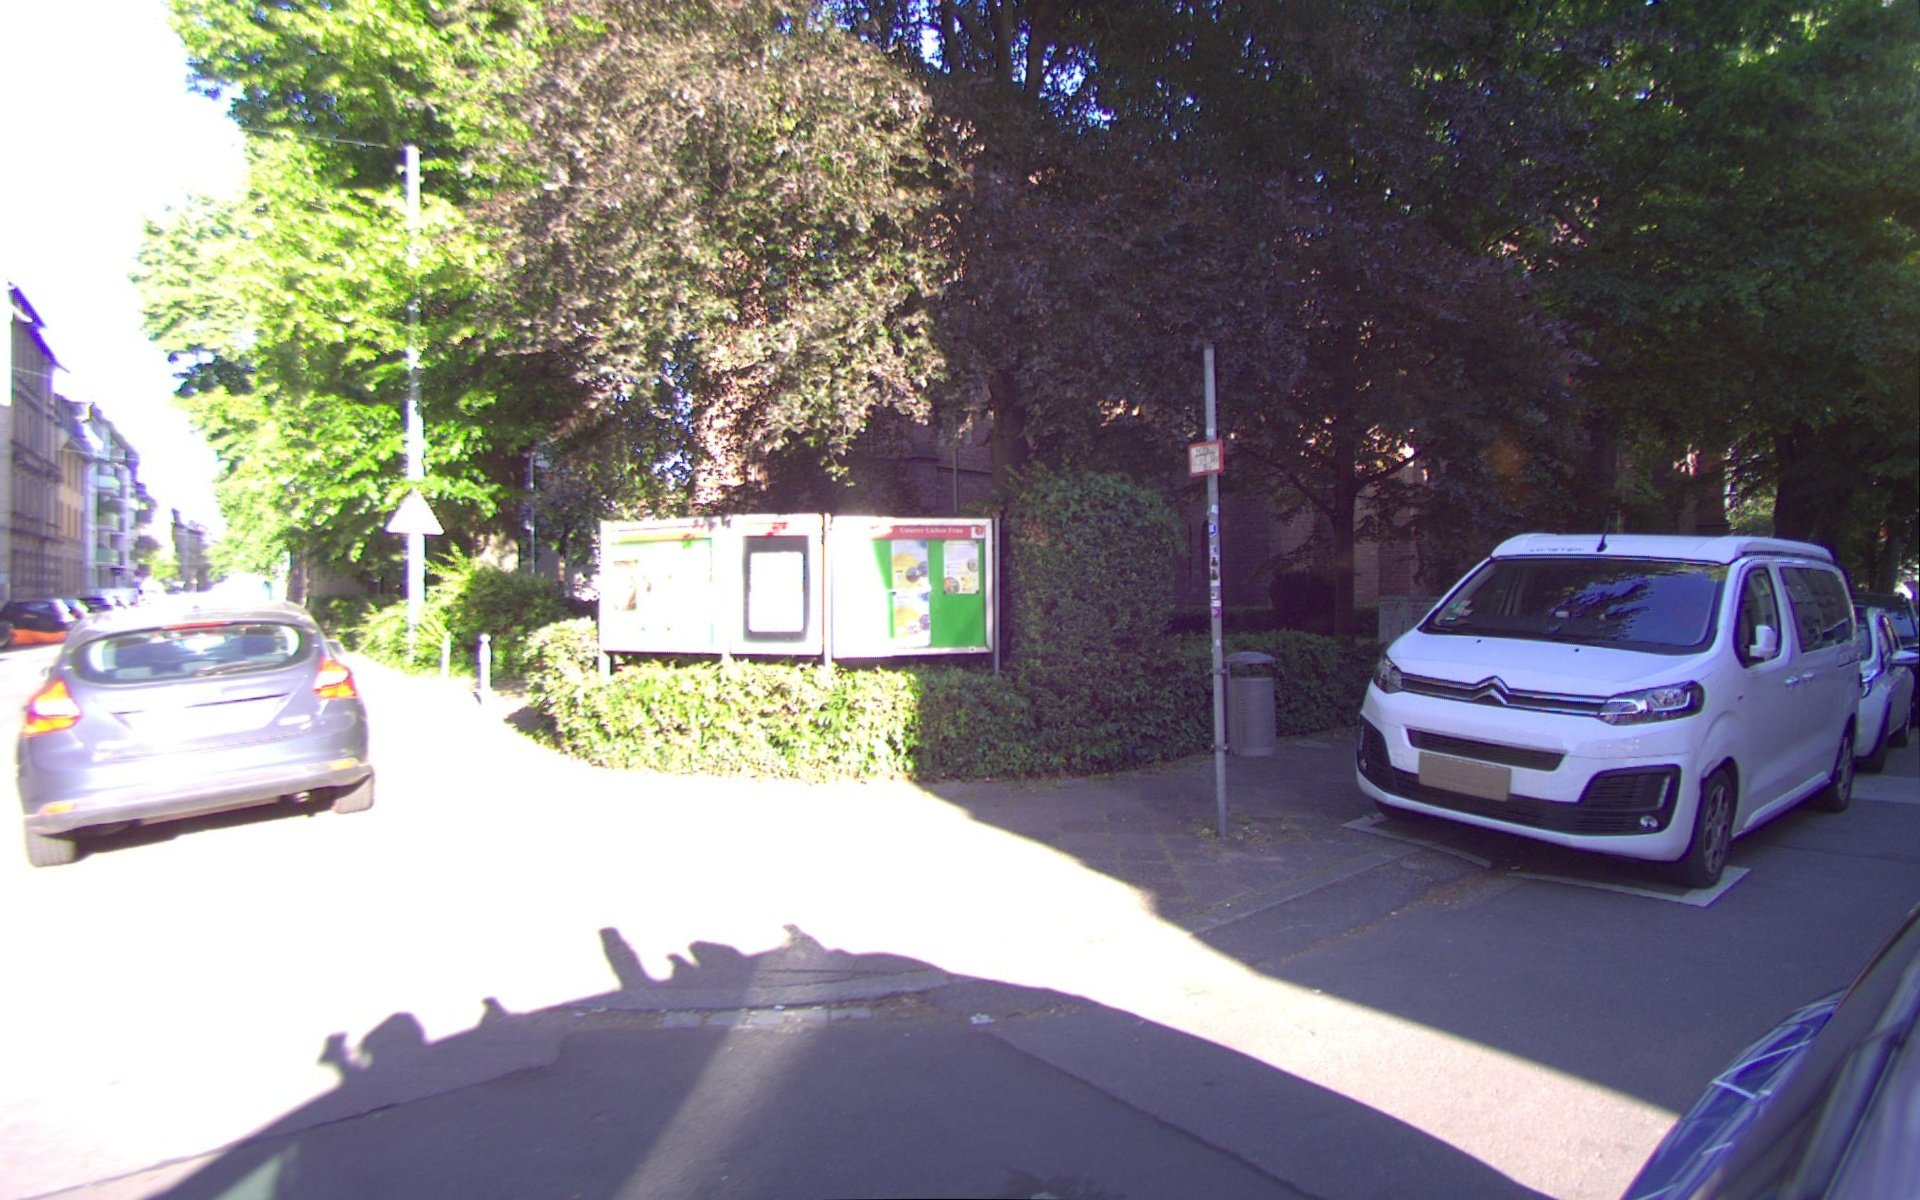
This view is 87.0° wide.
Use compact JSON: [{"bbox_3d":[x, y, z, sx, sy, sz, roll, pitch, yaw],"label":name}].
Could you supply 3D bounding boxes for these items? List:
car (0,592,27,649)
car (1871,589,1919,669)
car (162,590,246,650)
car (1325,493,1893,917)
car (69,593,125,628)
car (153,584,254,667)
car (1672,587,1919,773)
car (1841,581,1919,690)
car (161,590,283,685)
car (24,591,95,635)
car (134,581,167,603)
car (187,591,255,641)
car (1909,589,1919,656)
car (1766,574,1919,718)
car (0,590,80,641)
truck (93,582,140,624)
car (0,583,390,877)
[{"bbox_3d":[-28.249,0.605,29.004,1.602,1.572,3.894,-3,1,-34],"label":"car"},{"bbox_3d":[20.531,0.591,21.110,3.709,1.504,1.624,-1,6,-39],"label":"car"},{"bbox_3d":[-20.695,0.503,27.812,1.602,1.491,3.543,-3,1,-34],"label":"car"},{"bbox_3d":[4.726,0.455,7.054,4.705,2.023,1.919,0,2,-39],"label":"car"},{"bbox_3d":[-41.489,0.475,48.698,1.603,1.572,3.893,-3,1,-35],"label":"car"},{"bbox_3d":[-17.093,0.524,22.996,1.602,1.669,3.543,-3,1,-34],"label":"car"},{"bbox_3d":[8.935,0.664,10.619,3.765,1.590,1.720,-1,1,-44],"label":"car"},{"bbox_3d":[16.757,0.576,17.807,1.620,1.643,3.803,7,6,43],"label":"car"},{"bbox_3d":[-13.334,0.602,18.452,1.602,1.491,3.543,-3,1,-34],"label":"car"},{"bbox_3d":[-35.607,0.484,40.100,1.603,1.572,3.893,-3,1,-35],"label":"car"},{"bbox_3d":[-61.286,-0.624,76.635,1.603,1.572,3.893,-3,1,-35],"label":"car"},{"bbox_3d":[-24.370,0.487,33.454,1.602,1.491,3.543,-3,1,-34],"label":"car"},{"bbox_3d":[23.885,0.558,24.096,1.677,1.458,4.621,7,6,44],"label":"car"},{"bbox_3d":[12.708,0.512,14.135,1.741,1.622,4.196,7,6,44],"label":"car"},{"bbox_3d":[-31.207,0.486,34.291,1.603,1.572,3.893,-3,1,-35],"label":"car"},{"bbox_3d":[-47.513,0.149,57.066,1.603,2.243,4.365,-3,1,-35],"label":"truck"},{"bbox_3d":[-5.434,0.665,7.313,1.765,1.457,3.930,-3,2,-37],"label":"car"}]
